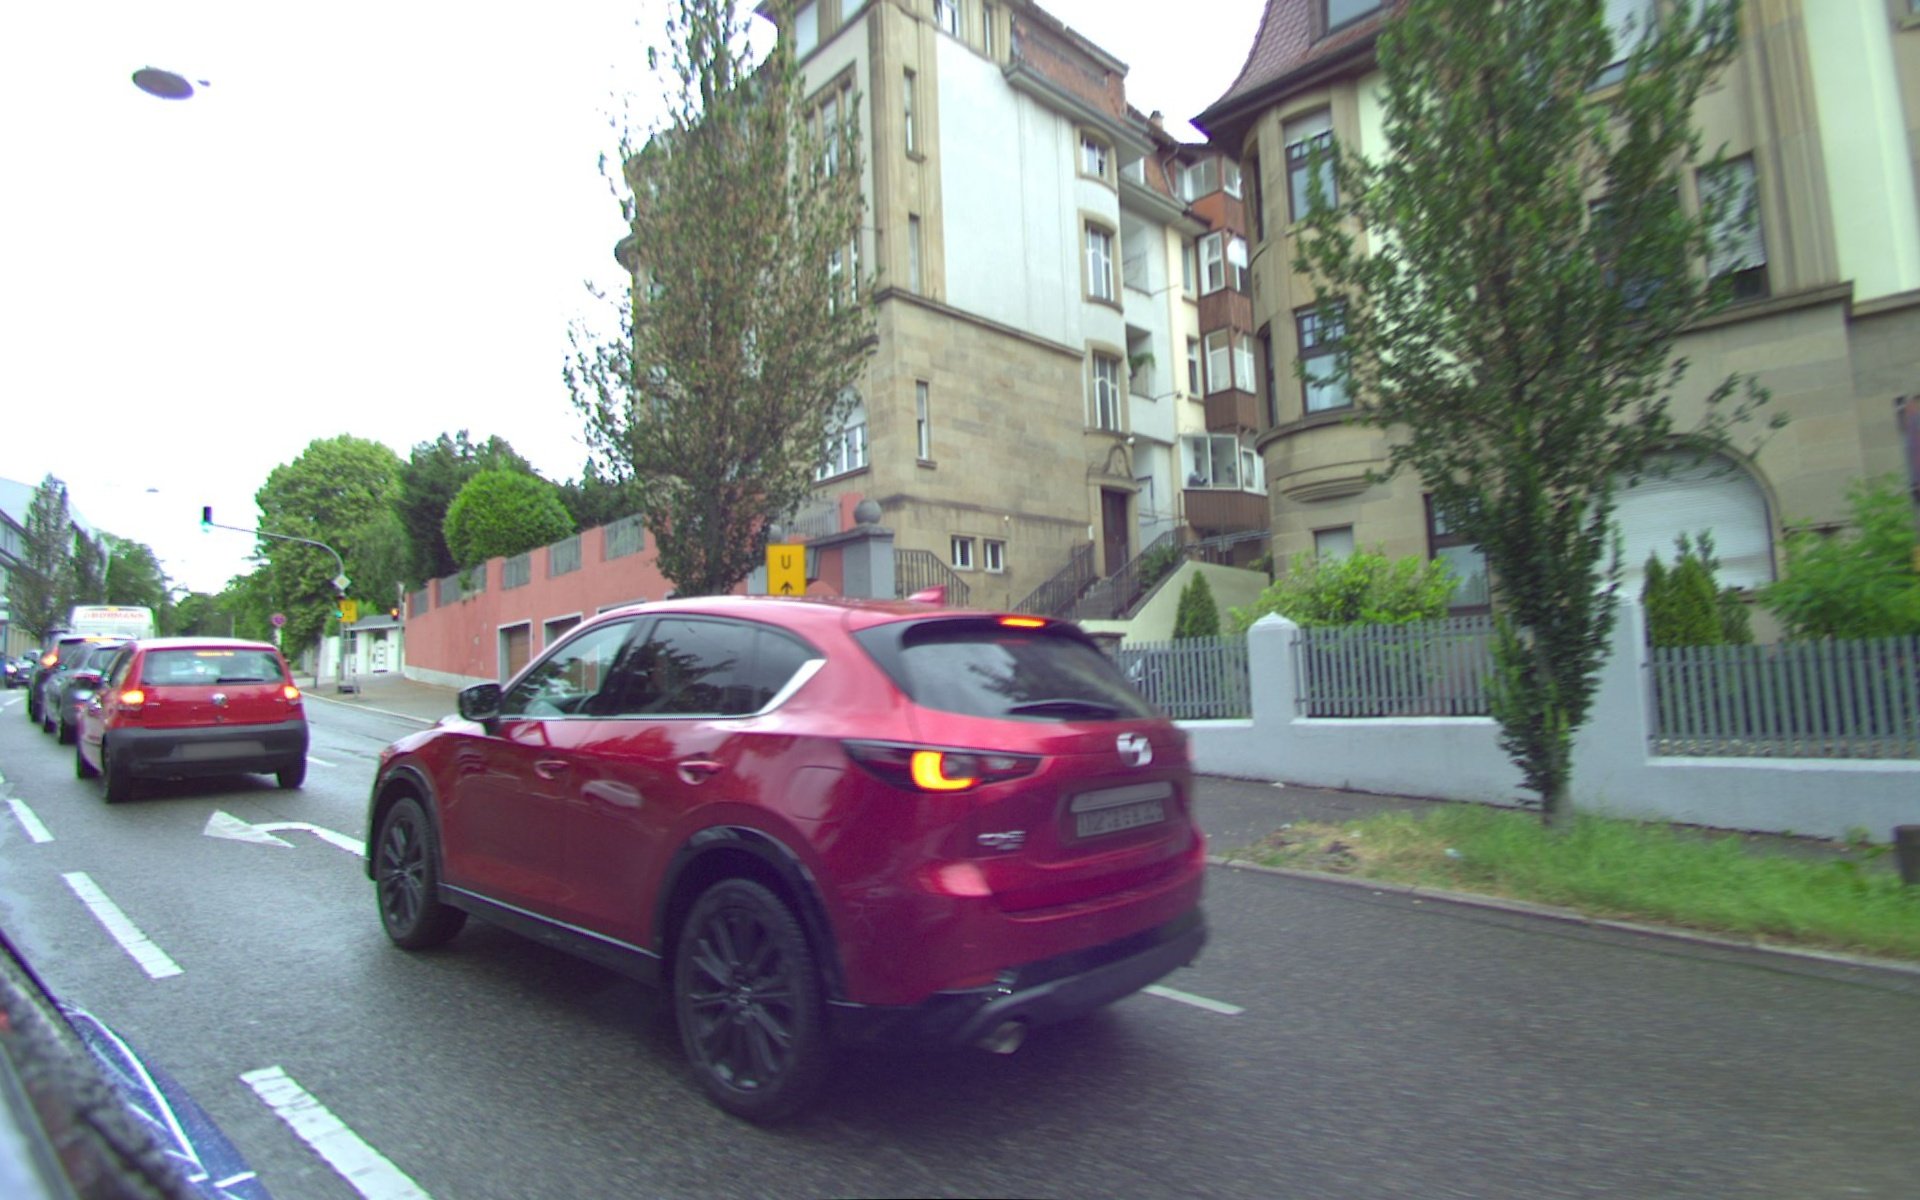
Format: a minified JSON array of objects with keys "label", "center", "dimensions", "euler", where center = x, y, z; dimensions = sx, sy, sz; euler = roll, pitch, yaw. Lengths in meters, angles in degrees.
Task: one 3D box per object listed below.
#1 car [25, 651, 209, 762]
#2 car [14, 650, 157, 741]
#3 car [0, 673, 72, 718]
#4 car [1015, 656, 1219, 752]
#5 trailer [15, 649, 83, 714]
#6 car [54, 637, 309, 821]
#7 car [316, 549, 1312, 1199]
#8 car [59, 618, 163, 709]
[{"label":"car","center":[-13.356,1.621,15.943],"dimensions":[4.264,1.509,1.753],"euler":[-4,-7,45]},{"label":"car","center":[-17.415,1.821,20.076],"dimensions":[1.853,1.587,4.589],"euler":[2,-5,-44]},{"label":"car","center":[-37.053,3.785,40.547],"dimensions":[1.708,1.632,3.484],"euler":[1,-3,-34]},{"label":"car","center":[2.693,1.700,16.920],"dimensions":[1.788,1.410,3.515],"euler":[-4,-6,40]},{"label":"trailer","center":[-38.874,3.433,43.268],"dimensions":[1.742,2.645,3.040],"euler":[0,-3,-35]},{"label":"car","center":[-8.390,1.243,10.781],"dimensions":[1.635,1.580,4.002],"euler":[3,-5,-45]},{"label":"car","center":[-0.941,0.847,4.373],"dimensions":[4.275,1.596,1.827],"euler":[-4,-7,40]},{"label":"car","center":[-26.174,1.991,31.377],"dimensions":[2.090,2.565,5.551],"euler":[3,-5,-37]}]
